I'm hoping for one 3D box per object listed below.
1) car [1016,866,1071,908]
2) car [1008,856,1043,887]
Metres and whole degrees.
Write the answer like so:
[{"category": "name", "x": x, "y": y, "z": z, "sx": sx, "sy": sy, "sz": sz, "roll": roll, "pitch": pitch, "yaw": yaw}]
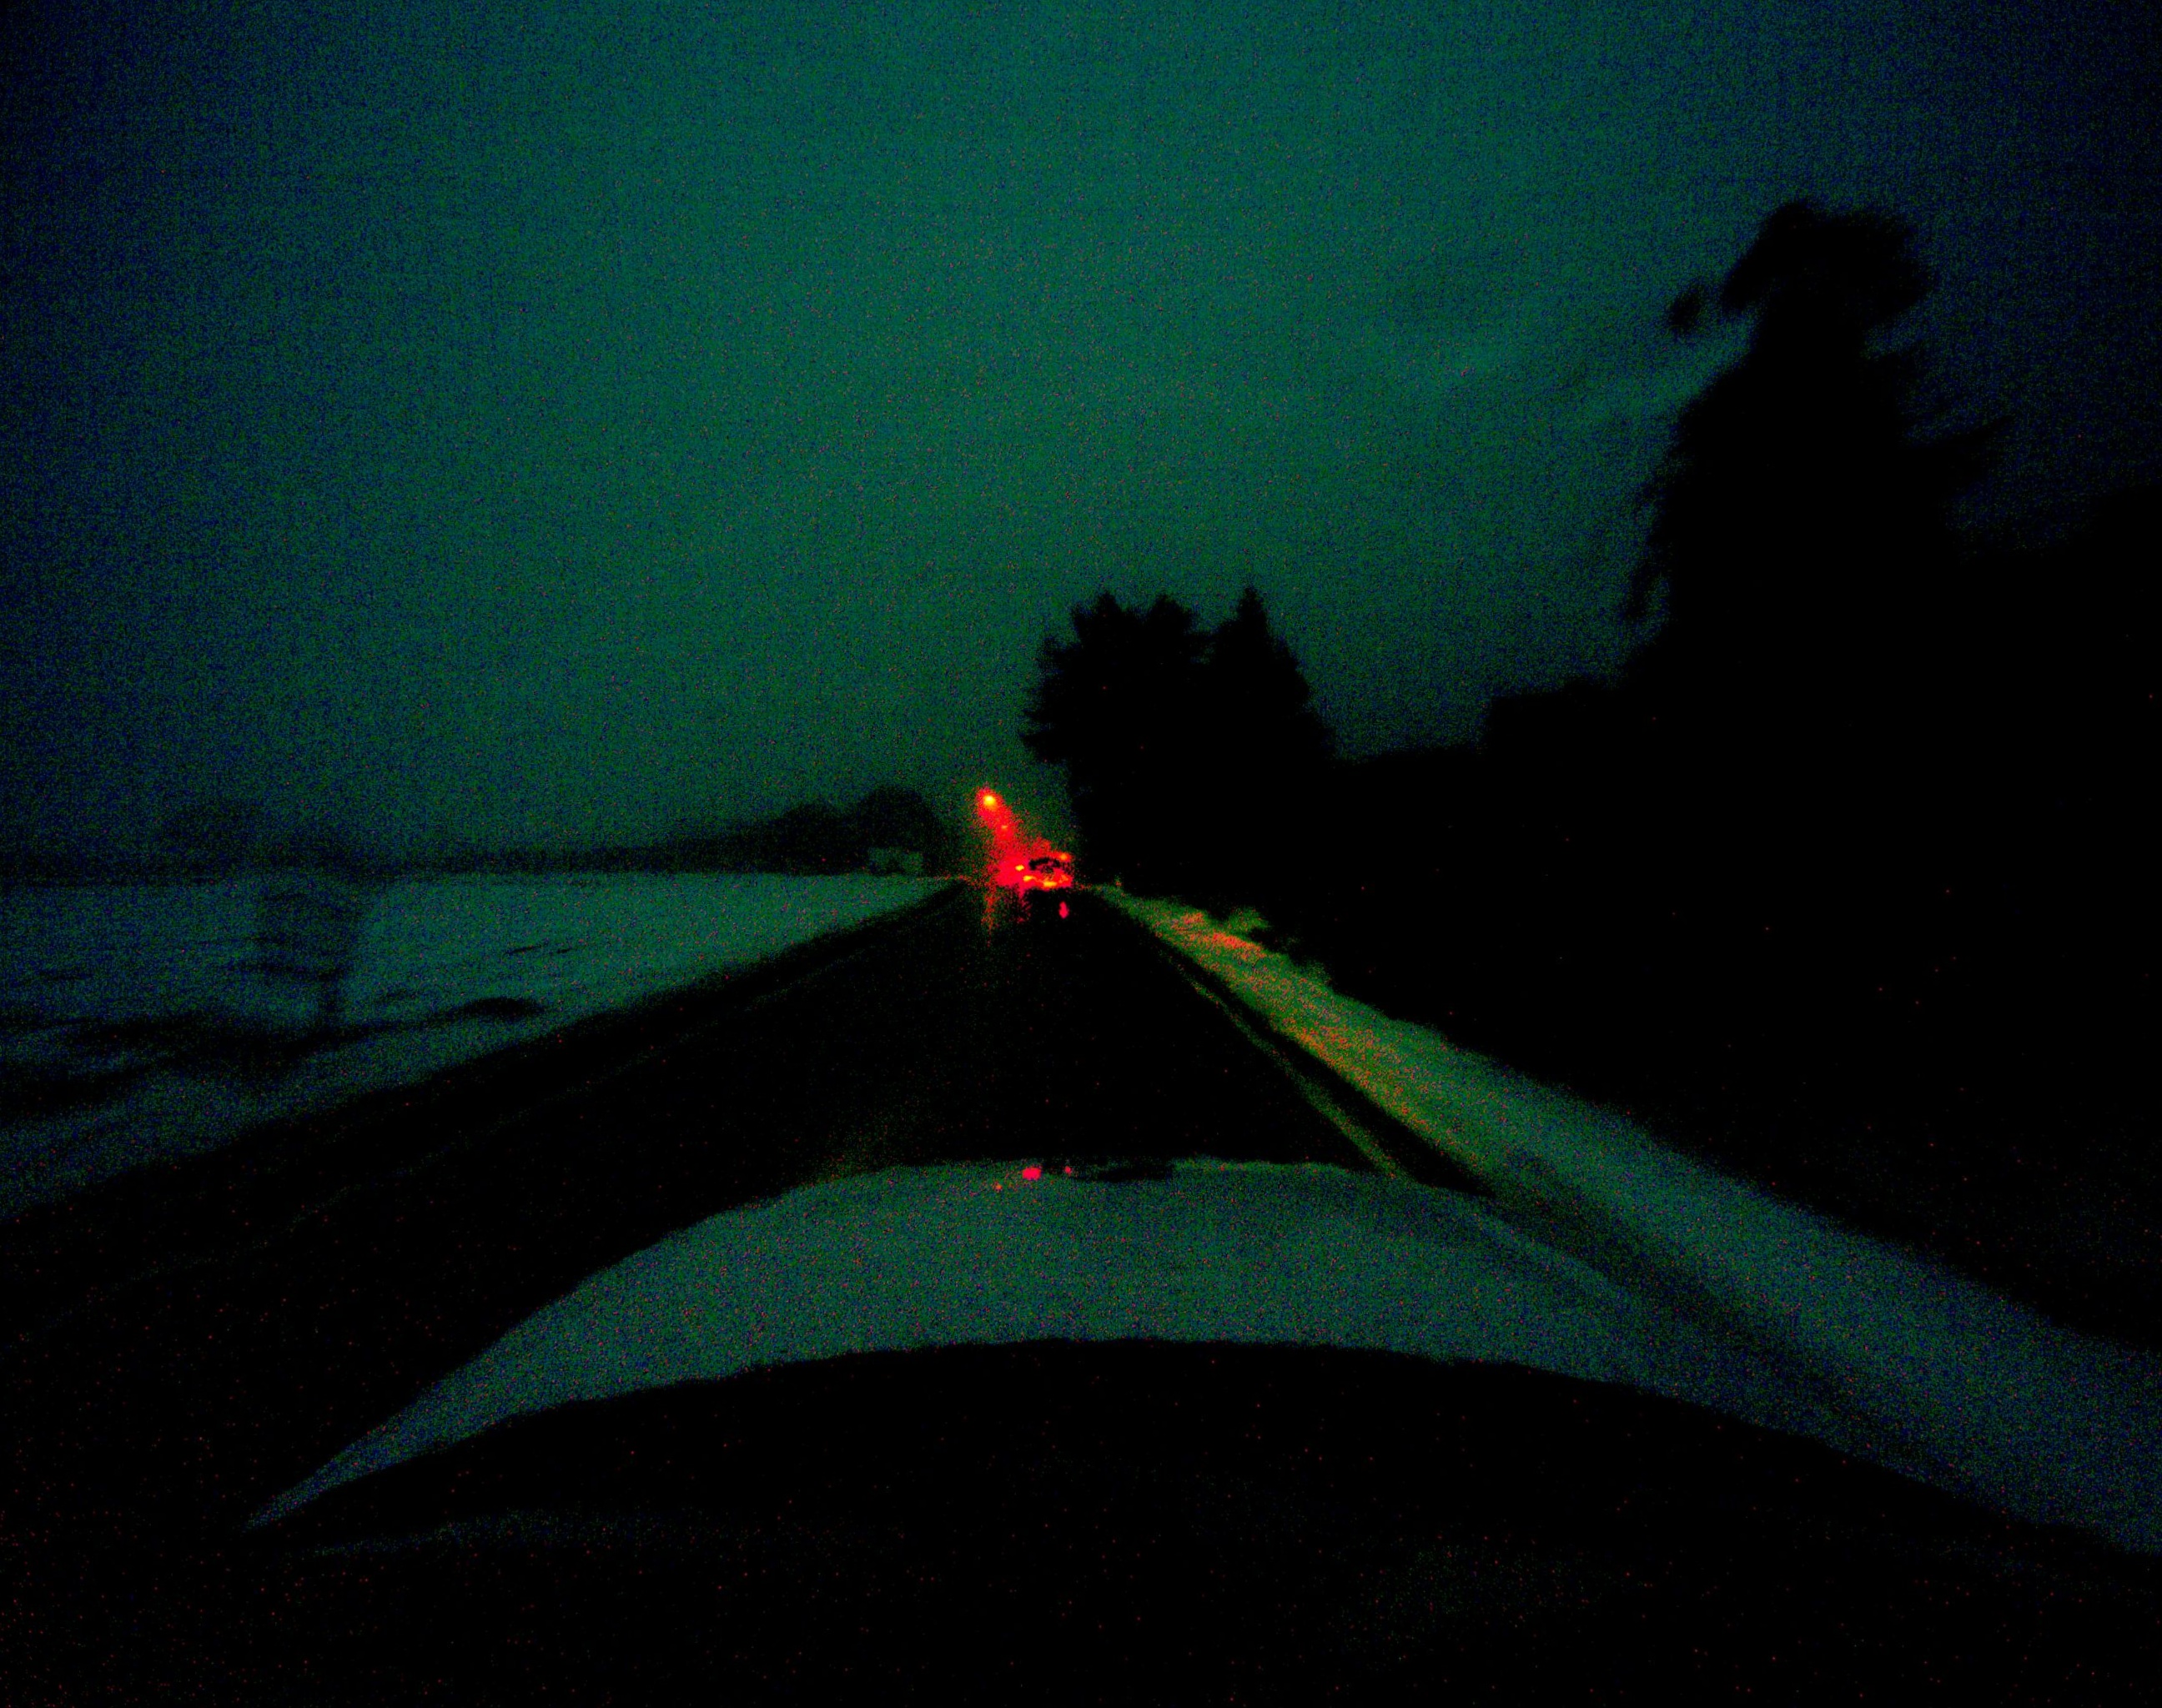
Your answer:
[{"category": "car", "x": -1.453, "y": 1.253, "z": 32.321, "sx": 1.988, "sy": 1.508, "sz": 3.997, "roll": -1, "pitch": -1, "yaw": -2}, {"category": "car", "x": -3.241, "y": 1.010, "z": 48.433, "sx": 1.989, "sy": 1.750, "sz": 3.995, "roll": -1, "pitch": -1, "yaw": -3}]
